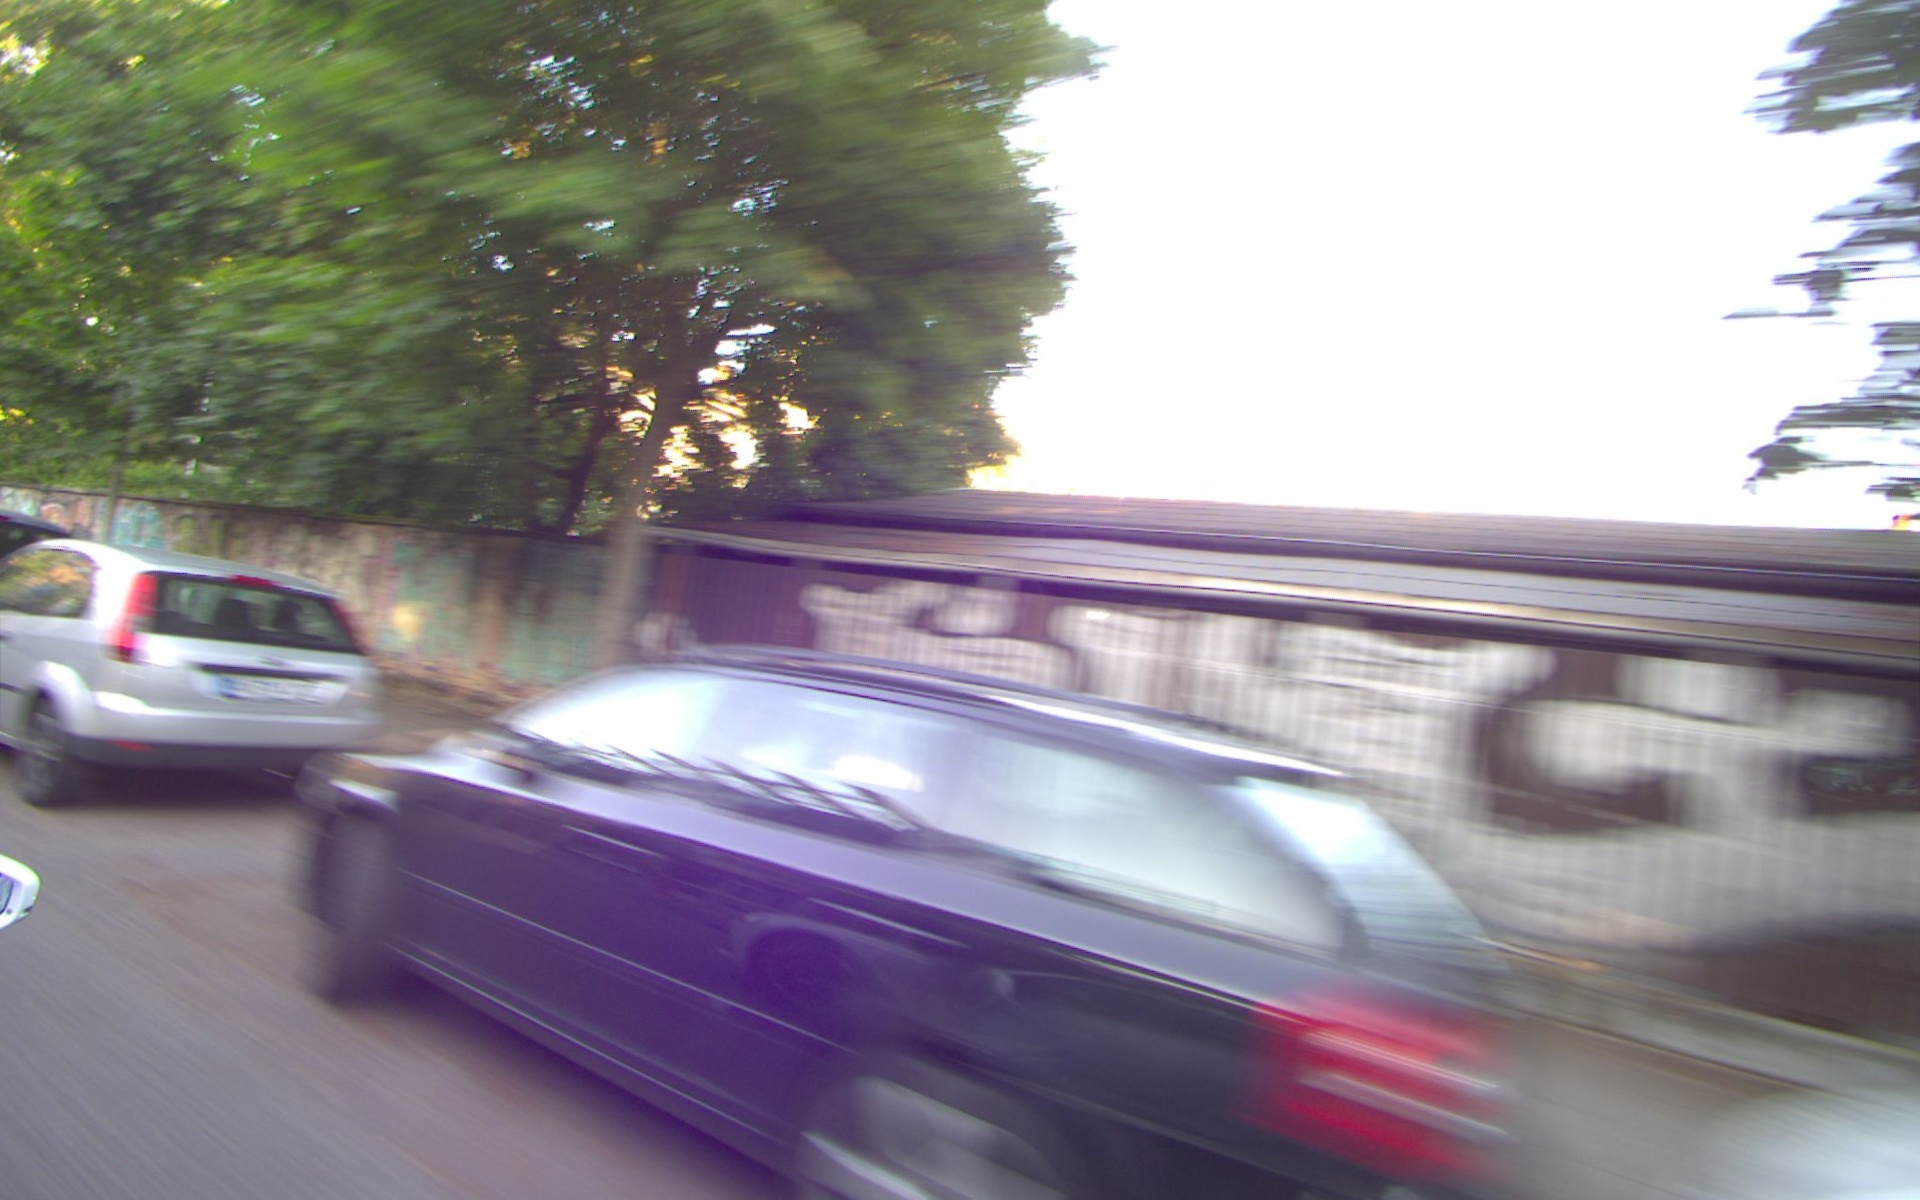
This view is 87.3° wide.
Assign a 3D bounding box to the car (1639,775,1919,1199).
[{"bbox_3d":[3.216,1.314,1.077,3.939,1.458,1.764,7,-3,32],"label":"car"}]

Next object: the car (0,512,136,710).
[{"bbox_3d":[-9.675,-0.087,9.387,3.809,1.621,1.764,6,-4,32],"label":"car"}]

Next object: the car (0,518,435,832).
[{"bbox_3d":[-5.565,0.344,6.763,3.809,1.457,1.764,7,-3,32],"label":"car"}]

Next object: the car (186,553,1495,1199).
[{"bbox_3d":[-0.661,0.885,3.582,4.319,1.470,1.764,7,-3,32],"label":"car"}]
